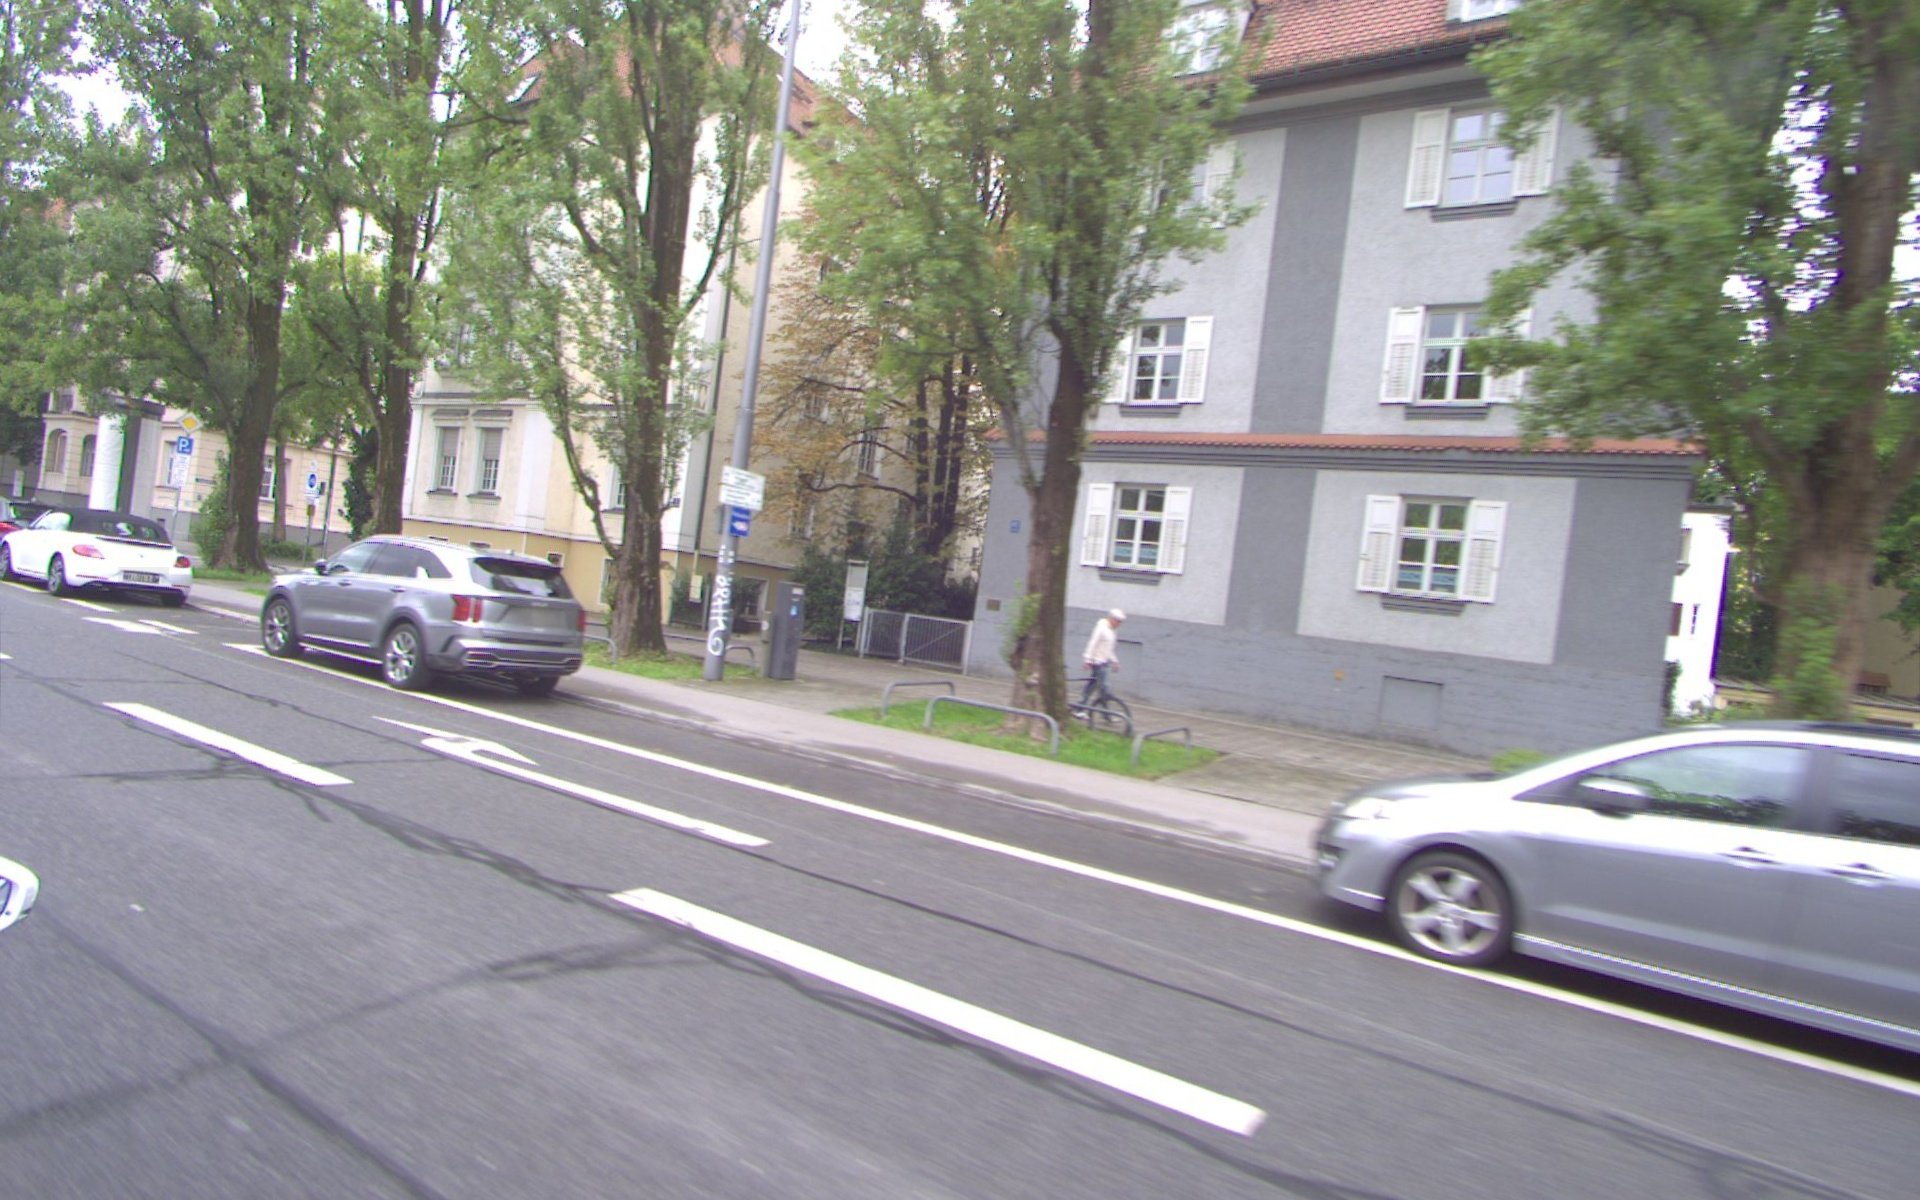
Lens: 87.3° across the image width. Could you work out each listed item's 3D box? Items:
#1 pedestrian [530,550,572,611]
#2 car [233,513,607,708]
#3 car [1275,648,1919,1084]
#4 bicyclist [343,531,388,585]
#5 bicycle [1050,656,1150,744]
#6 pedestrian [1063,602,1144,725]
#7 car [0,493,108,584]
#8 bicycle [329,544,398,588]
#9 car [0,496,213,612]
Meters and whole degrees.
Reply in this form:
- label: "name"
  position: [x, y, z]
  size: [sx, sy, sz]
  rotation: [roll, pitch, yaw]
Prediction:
- label: "pedestrian"
  position: [-11.453, -0.551, 28.162]
  size: [0.726, 1.566, 0.553]
  rotation: [9, 1, 30]
- label: "car"
  position: [-6.749, 0.078, 12.435]
  size: [4.621, 1.764, 1.802]
  rotation: [7, 0, 30]
- label: "car"
  position: [4.353, 1.399, 5.712]
  size: [4.470, 1.632, 1.802]
  rotation: [7, 0, 30]
- label: "bicyclist"
  position: [-15.746, -1.109, 26.667]
  size: [0.694, 1.331, 0.661]
  rotation: [7, 1, 29]
- label: "bicycle"
  position: [1.941, 1.378, 14.039]
  size: [1.207, 1.000, 0.355]
  rotation: [9, 1, 32]
- label: "pedestrian"
  position: [2.217, 0.977, 15.523]
  size: [0.810, 1.760, 0.592]
  rotation: [9, 1, 31]
- label: "car"
  position: [-19.322, -1.373, 20.217]
  size: [4.373, 1.526, 1.803]
  rotation: [7, 0, 28]
- label: "bicycle"
  position: [-15.833, -0.913, 26.688]
  size: [1.870, 0.934, 0.653]
  rotation: [7, 1, 30]
- label: "car"
  position: [-15.138, -0.821, 17.672]
  size: [3.933, 1.526, 1.802]
  rotation: [7, -1, 32]
